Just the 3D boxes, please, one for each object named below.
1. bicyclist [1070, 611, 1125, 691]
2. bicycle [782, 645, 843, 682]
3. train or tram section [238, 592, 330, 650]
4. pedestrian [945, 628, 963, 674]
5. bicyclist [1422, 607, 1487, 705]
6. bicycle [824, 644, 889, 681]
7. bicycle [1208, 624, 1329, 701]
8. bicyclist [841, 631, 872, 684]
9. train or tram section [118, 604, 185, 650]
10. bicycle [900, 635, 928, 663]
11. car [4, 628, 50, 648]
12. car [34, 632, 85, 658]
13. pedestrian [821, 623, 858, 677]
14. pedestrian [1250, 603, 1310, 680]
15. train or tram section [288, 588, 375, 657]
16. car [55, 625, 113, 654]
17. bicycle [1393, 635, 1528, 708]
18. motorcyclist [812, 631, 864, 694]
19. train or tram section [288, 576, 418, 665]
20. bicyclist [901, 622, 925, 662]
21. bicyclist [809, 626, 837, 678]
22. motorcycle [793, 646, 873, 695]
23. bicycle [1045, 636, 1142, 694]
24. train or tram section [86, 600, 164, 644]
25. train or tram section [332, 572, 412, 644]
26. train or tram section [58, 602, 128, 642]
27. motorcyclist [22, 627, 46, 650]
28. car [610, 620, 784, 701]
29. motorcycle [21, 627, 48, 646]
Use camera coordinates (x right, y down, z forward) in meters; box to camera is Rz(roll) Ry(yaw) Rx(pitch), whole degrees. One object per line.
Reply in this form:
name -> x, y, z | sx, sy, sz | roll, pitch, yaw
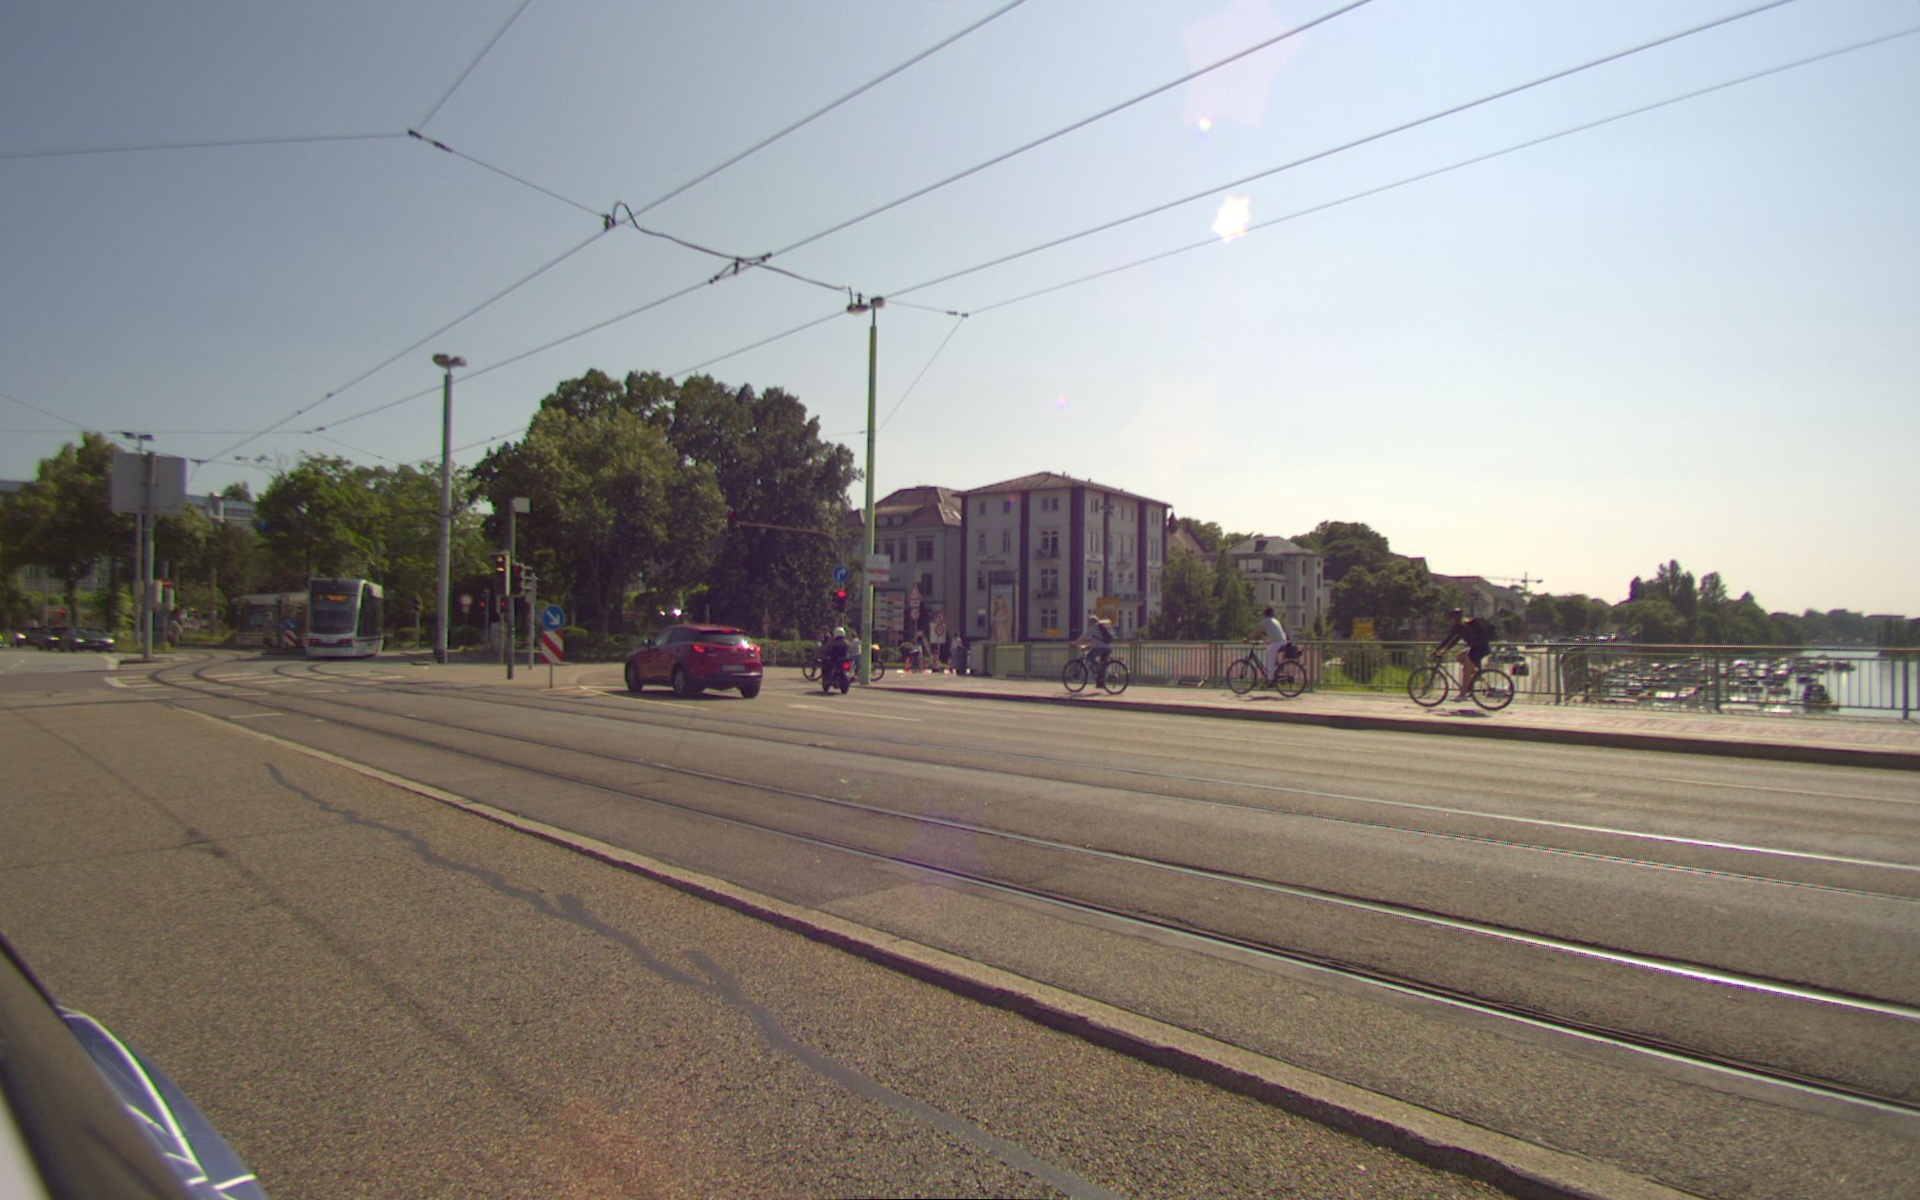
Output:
bicyclist -> 2.879, 1.064, 21.164 | 0.866, 1.621, 0.772 | 3, -5, -44
bicycle -> -4.699, 2.025, 32.287 | 1.890, 1.122, 0.762 | 1, -1, -7
train or tram section -> -46.804, 1.477, 69.935 | 9.158, 3.806, 2.512 | -1, -4, 39
pedestrian -> -0.220, 2.004, 40.107 | 0.686, 1.806, 0.700 | 0, -2, 1
bicyclist -> 8.433, 0.928, 17.260 | 0.772, 1.621, 0.867 | -1, -2, 44
bicycle -> -3.196, 1.915, 31.280 | 1.887, 1.122, 0.763 | 1, -2, -19
bicycle -> 6.097, 1.200, 20.079 | 2.162, 1.410, 0.697 | -1, 2, 42
bicyclist -> -3.211, 1.764, 31.282 | 0.758, 1.621, 0.882 | 0, -1, -19
train or tram section -> -62.474, 2.085, 78.172 | 5.880, 3.429, 2.733 | -1, -3, 39
bicycle -> -2.039, 2.133, 44.325 | 0.748, 1.122, 1.926 | 1, -1, -18
car -> -61.580, 2.507, 66.764 | 3.910, 1.318, 1.617 | -1, -3, 39
car -> -52.397, 2.583, 58.876 | 3.999, 1.422, 1.773 | -1, -3, 42
pedestrian -> -4.081, 1.689, 34.366 | 1.142, 1.816, 0.940 | 0, -1, 1
pedestrian -> 6.298, 0.801, 19.918 | 0.899, 1.466, 0.735 | -1, -1, 44
train or tram section -> -39.437, 1.309, 63.335 | 2.508, 3.805, 9.175 | 3, 0, -45
car -> -47.810, 2.157, 55.179 | 4.745, 1.497, 1.729 | -1, -4, 42
bicycle -> 8.485, 1.180, 17.213 | 1.921, 1.122, 0.750 | 0, -1, 44
motorcyclist -> -2.885, 1.458, 23.959 | 0.897, 1.412, 0.836 | -1, -1, 42
train or tram section -> -29.037, 1.087, 49.075 | 2.436, 3.806, 11.883 | 1, -2, -16
bicyclist -> -2.055, 1.834, 44.318 | 0.865, 1.687, 0.774 | 1, -1, -17
bicyclist -> -4.373, 1.656, 32.314 | 0.866, 1.621, 0.773 | 1, -1, -6
motorcycle -> -3.042, 1.656, 24.099 | 1.952, 1.032, 0.835 | -1, -1, 43
bicycle -> 2.776, 1.349, 21.170 | 0.750, 1.122, 1.921 | -1, -2, -44
train or tram section -> -69.576, 1.836, 84.210 | 12.402, 3.429, 2.732 | -1, -3, 40
train or tram section -> -33.141, 0.571, 56.805 | 2.373, 3.709, 9.636 | 2, -3, -39
train or tram section -> -79.113, 2.061, 92.224 | 12.400, 3.429, 2.732 | -1, -3, 40
motorcyclist -> -58.135, 2.416, 63.531 | 0.992, 1.369, 0.891 | -1, -3, 39
car -> -5.768, 1.219, 21.880 | 1.969, 1.526, 4.195 | 1, -1, -41
motorcycle -> -58.012, 2.291, 63.416 | 2.350, 1.172, 0.891 | -1, -3, 39
